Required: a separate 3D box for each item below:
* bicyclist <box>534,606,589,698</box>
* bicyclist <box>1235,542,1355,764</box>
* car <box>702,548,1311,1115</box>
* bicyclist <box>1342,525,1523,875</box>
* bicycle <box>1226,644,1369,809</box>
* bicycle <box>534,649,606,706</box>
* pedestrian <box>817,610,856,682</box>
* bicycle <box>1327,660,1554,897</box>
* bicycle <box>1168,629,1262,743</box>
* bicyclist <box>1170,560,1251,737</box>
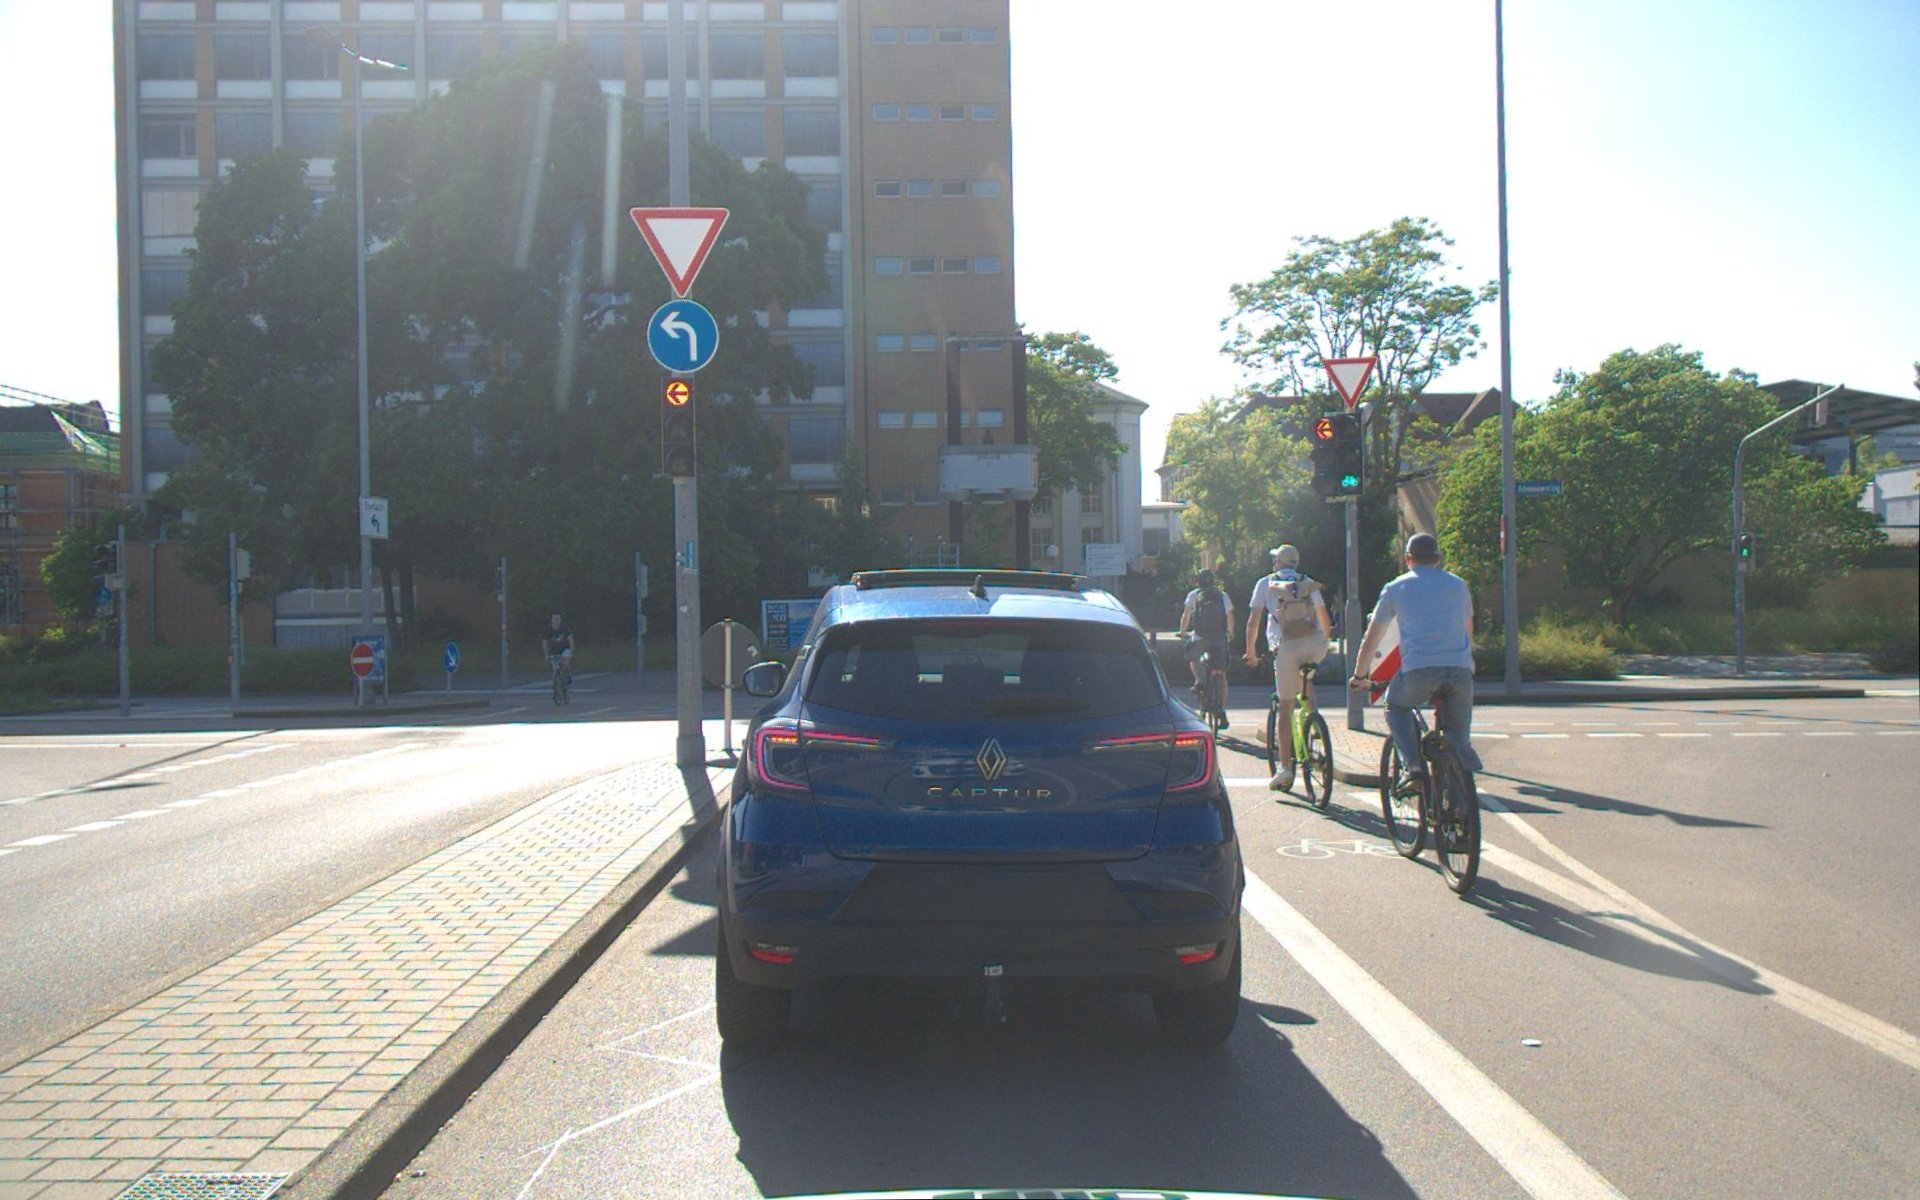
[{"bbox_3d":[-7.731,0.994,32.099,0.739,1.746,0.999,-1,0,5],"label":"bicyclist"},{"bbox_3d":[2.546,0.388,12.675,0.664,1.622,1.142,0,0,-1],"label":"bicyclist"},{"bbox_3d":[0.054,0.662,6.708,1.753,1.613,3.912,0,0,-3],"label":"car"},{"bbox_3d":[2.598,0.523,9.196,0.669,1.822,1.142,0,0,-1],"label":"bicyclist"},{"bbox_3d":[2.535,0.917,12.619,0.675,1.108,1.922,0,0,-1],"label":"bicycle"},{"bbox_3d":[-7.669,1.510,32.635,0.739,1.002,2.095,-1,0,5],"label":"bicycle"},{"bbox_3d":[-3.319,1.238,44.619,0.796,1.895,0.910,-1,0,13],"label":"pedestrian"},{"bbox_3d":[2.596,0.920,9.159,0.675,1.108,1.922,0,0,-1],"label":"bicycle"},{"bbox_3d":[2.672,0.882,17.520,0.675,1.108,1.922,0,0,-1],"label":"bicycle"},{"bbox_3d":[2.662,0.500,17.673,0.685,1.822,1.142,0,0,-1],"label":"bicyclist"}]
